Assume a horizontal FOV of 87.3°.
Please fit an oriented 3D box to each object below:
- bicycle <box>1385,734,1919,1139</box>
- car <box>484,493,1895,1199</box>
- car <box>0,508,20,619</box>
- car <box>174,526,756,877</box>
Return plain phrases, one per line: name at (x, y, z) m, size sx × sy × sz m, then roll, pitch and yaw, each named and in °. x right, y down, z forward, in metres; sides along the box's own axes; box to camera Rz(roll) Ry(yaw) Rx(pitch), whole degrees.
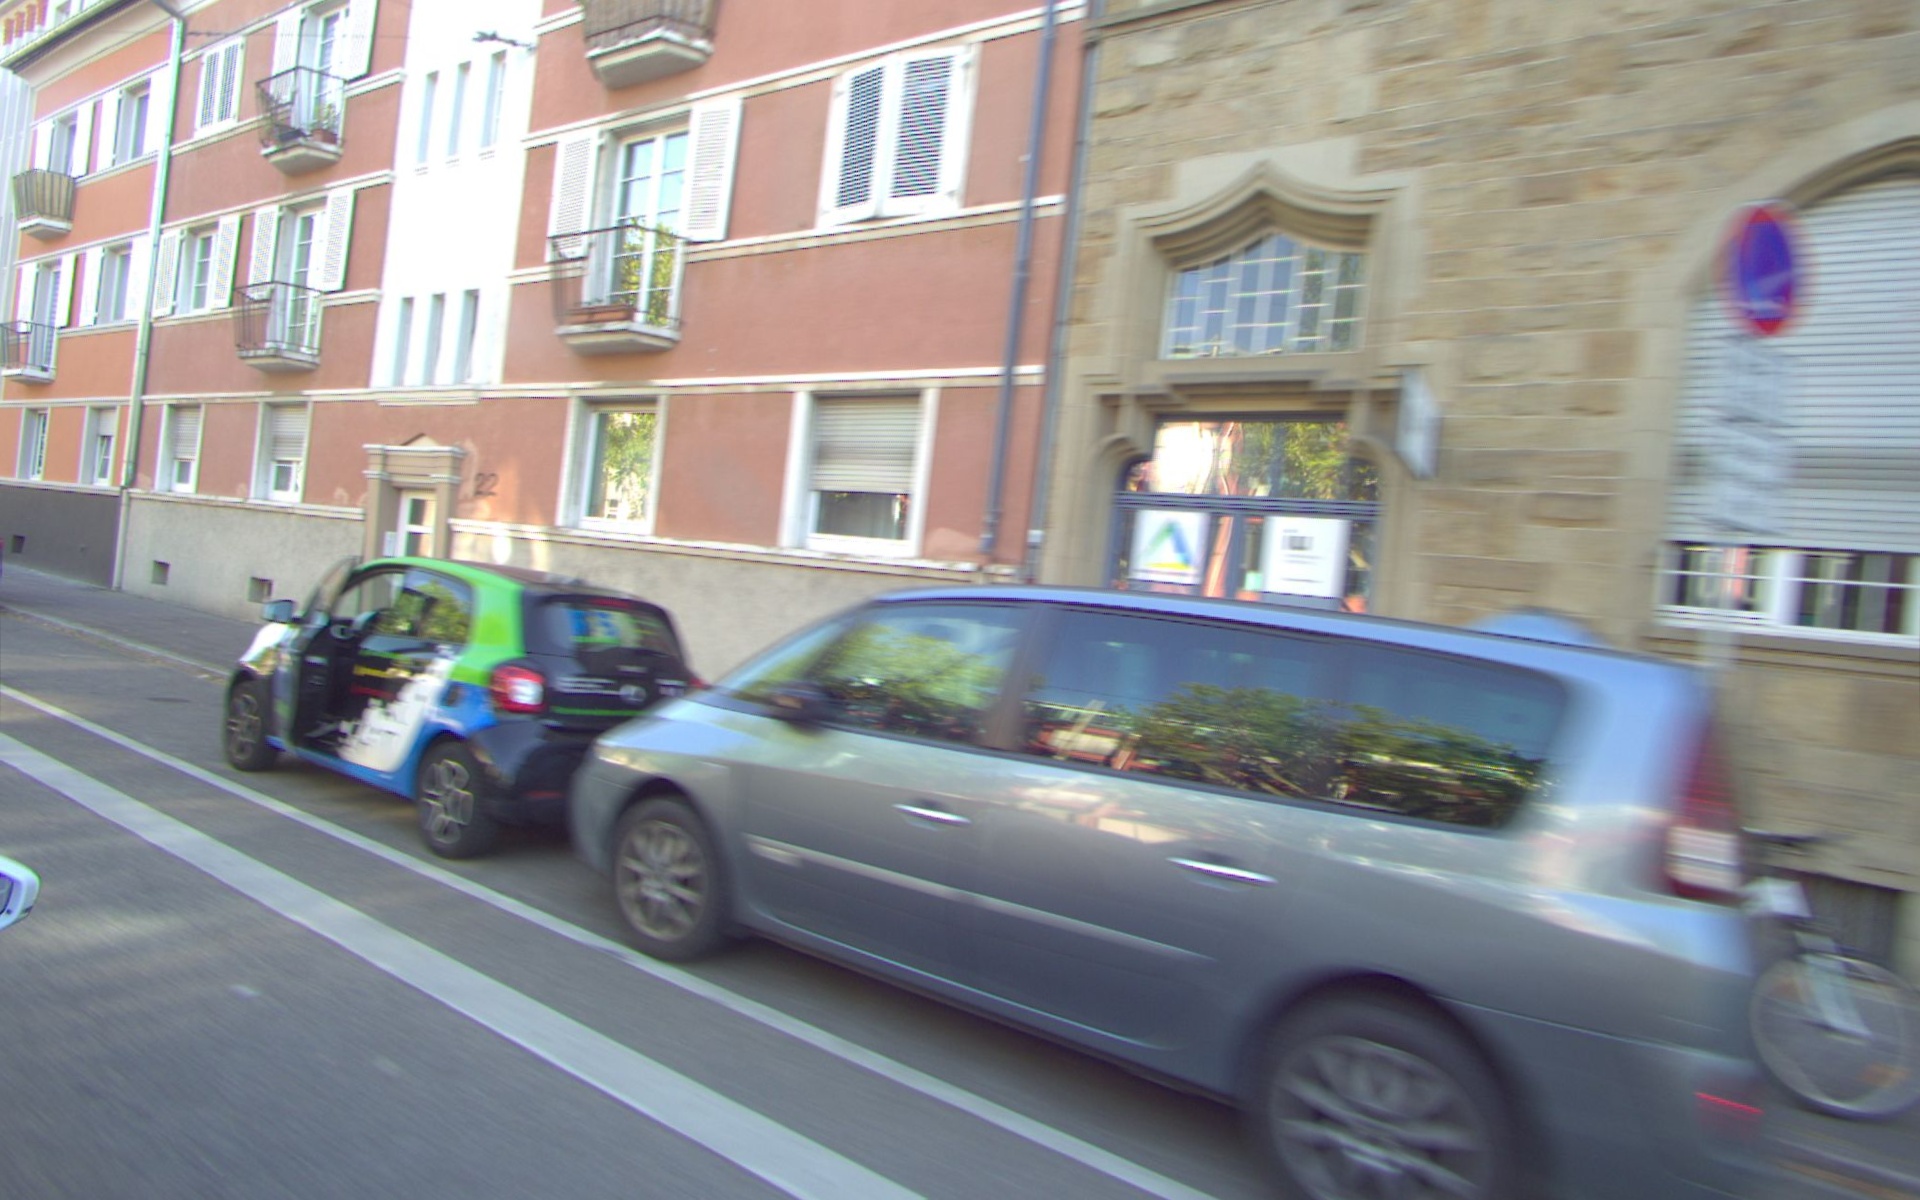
bicycle at (3.099, 1.345, 4.276) m, size 2.221 × 1.154 × 0.515 m, roll 7°, pitch 1°, yaw 32°
car at (0.350, 0.743, 4.160) m, size 4.736 × 1.877 × 1.756 m, roll 6°, pitch -2°, yaw 32°
car at (-15.682, -0.820, 14.446) m, size 4.682 × 1.528 × 1.759 m, roll 7°, pitch -3°, yaw 30°
car at (-3.321, 0.516, 6.577) m, size 3.656 × 1.528 × 1.635 m, roll 6°, pitch -3°, yaw 33°
